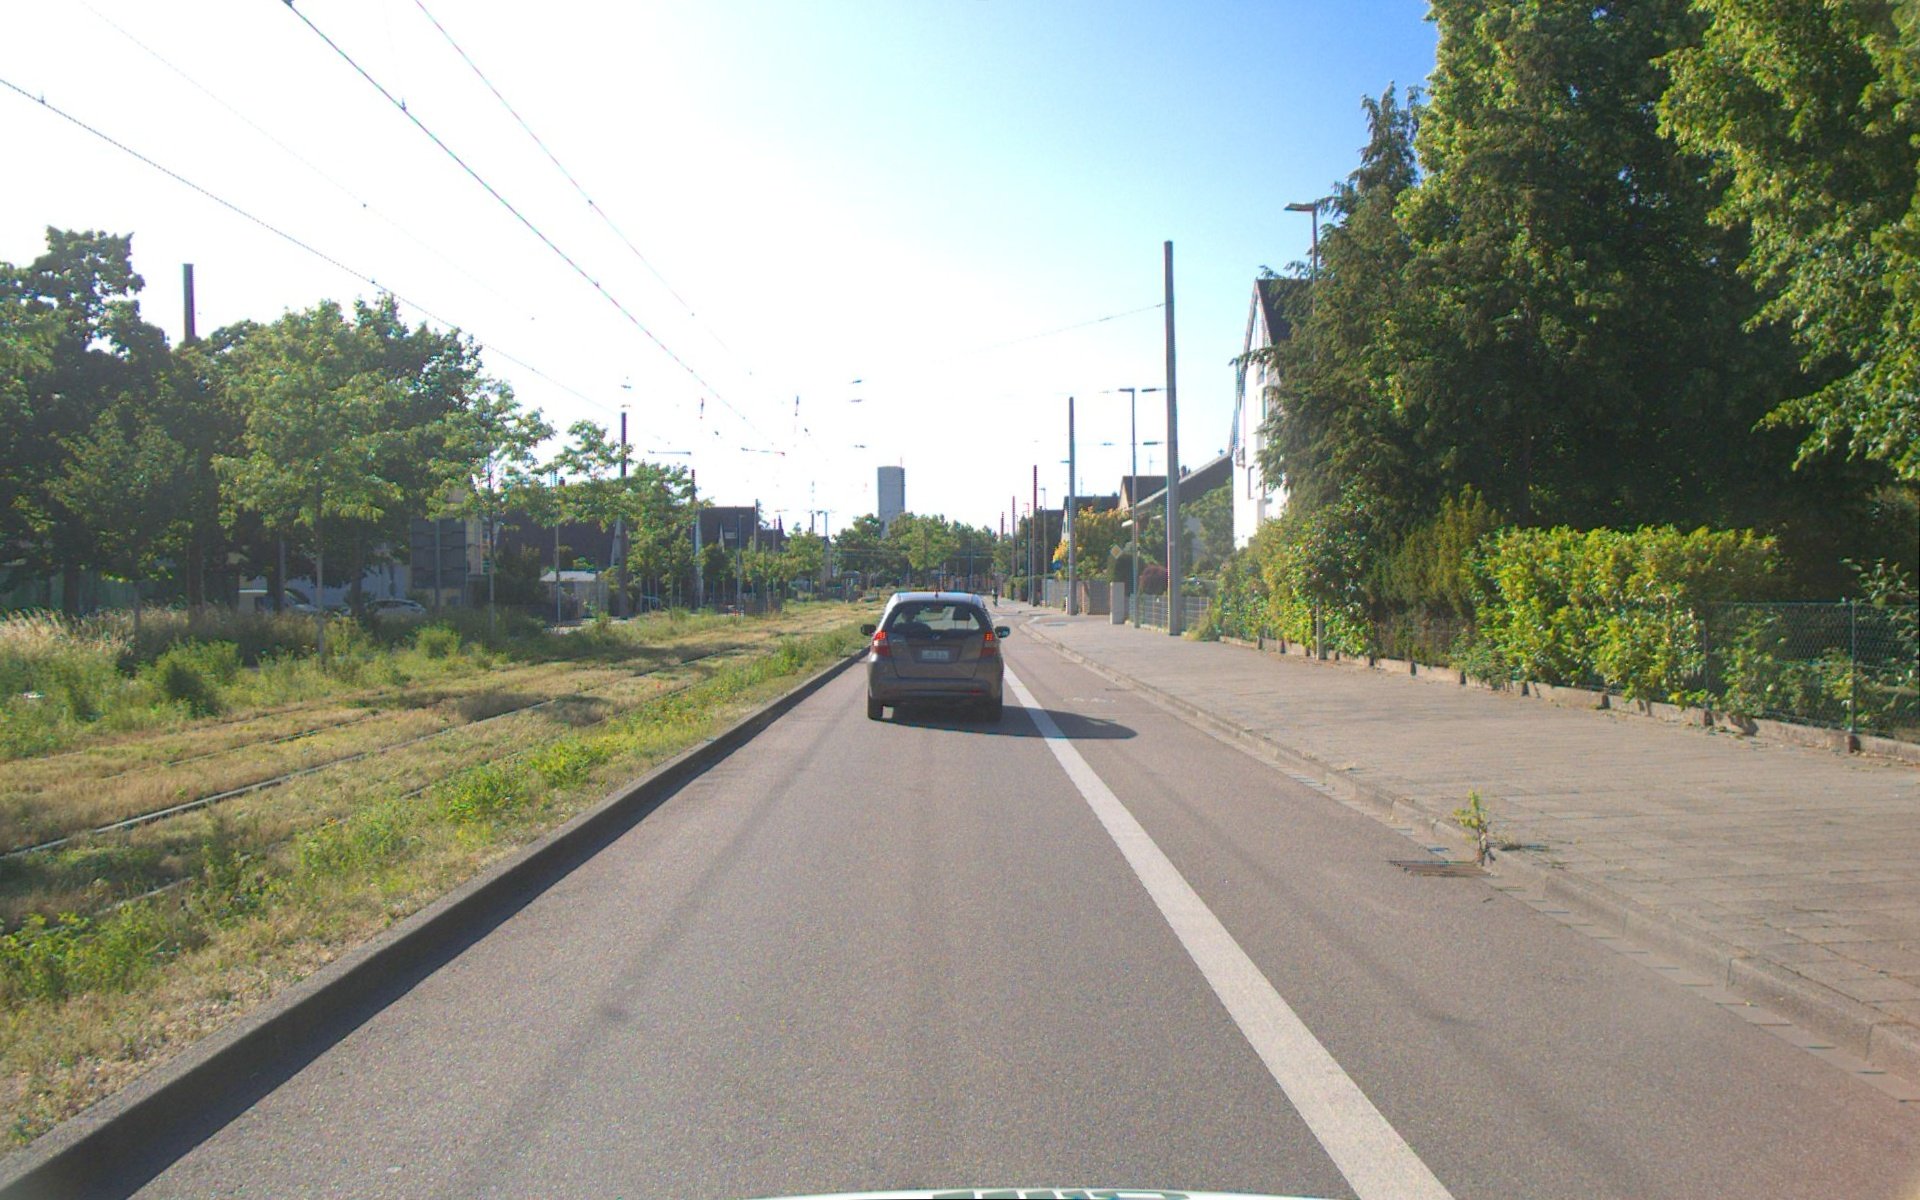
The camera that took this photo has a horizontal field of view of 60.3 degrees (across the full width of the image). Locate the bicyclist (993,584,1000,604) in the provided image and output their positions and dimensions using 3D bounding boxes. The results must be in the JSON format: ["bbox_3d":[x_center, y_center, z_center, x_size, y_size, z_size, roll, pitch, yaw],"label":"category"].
[{"bbox_3d":[3.064,-0.497,138.995,0.586,1.731,0.683,1,0,0],"label":"bicyclist"}]

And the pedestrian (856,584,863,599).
[{"bbox_3d":[-10.503,-0.858,172.490,0.662,1.562,0.748,-1,0,-5],"label":"pedestrian"}]

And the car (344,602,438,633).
[{"bbox_3d":[-27.582,0.848,80.282,3.906,1.428,1.852,-1,-2,-2],"label":"car"}]

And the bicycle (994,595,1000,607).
[{"bbox_3d":[3.145,0.087,139.255,0.465,0.978,1.657,1,0,0],"label":"bicycle"}]

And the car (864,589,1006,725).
[{"bbox_3d":[-0.343,0.668,21.021,1.637,1.562,3.486,1,0,-2],"label":"car"}]

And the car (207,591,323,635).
[{"bbox_3d":[-32.482,0.592,77.341,4.591,1.948,1.903,-1,0,-1],"label":"car"}]

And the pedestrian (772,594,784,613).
[{"bbox_3d":[-16.219,0.318,147.199,0.945,1.669,1.085,-1,0,0],"label":"pedestrian"}]
